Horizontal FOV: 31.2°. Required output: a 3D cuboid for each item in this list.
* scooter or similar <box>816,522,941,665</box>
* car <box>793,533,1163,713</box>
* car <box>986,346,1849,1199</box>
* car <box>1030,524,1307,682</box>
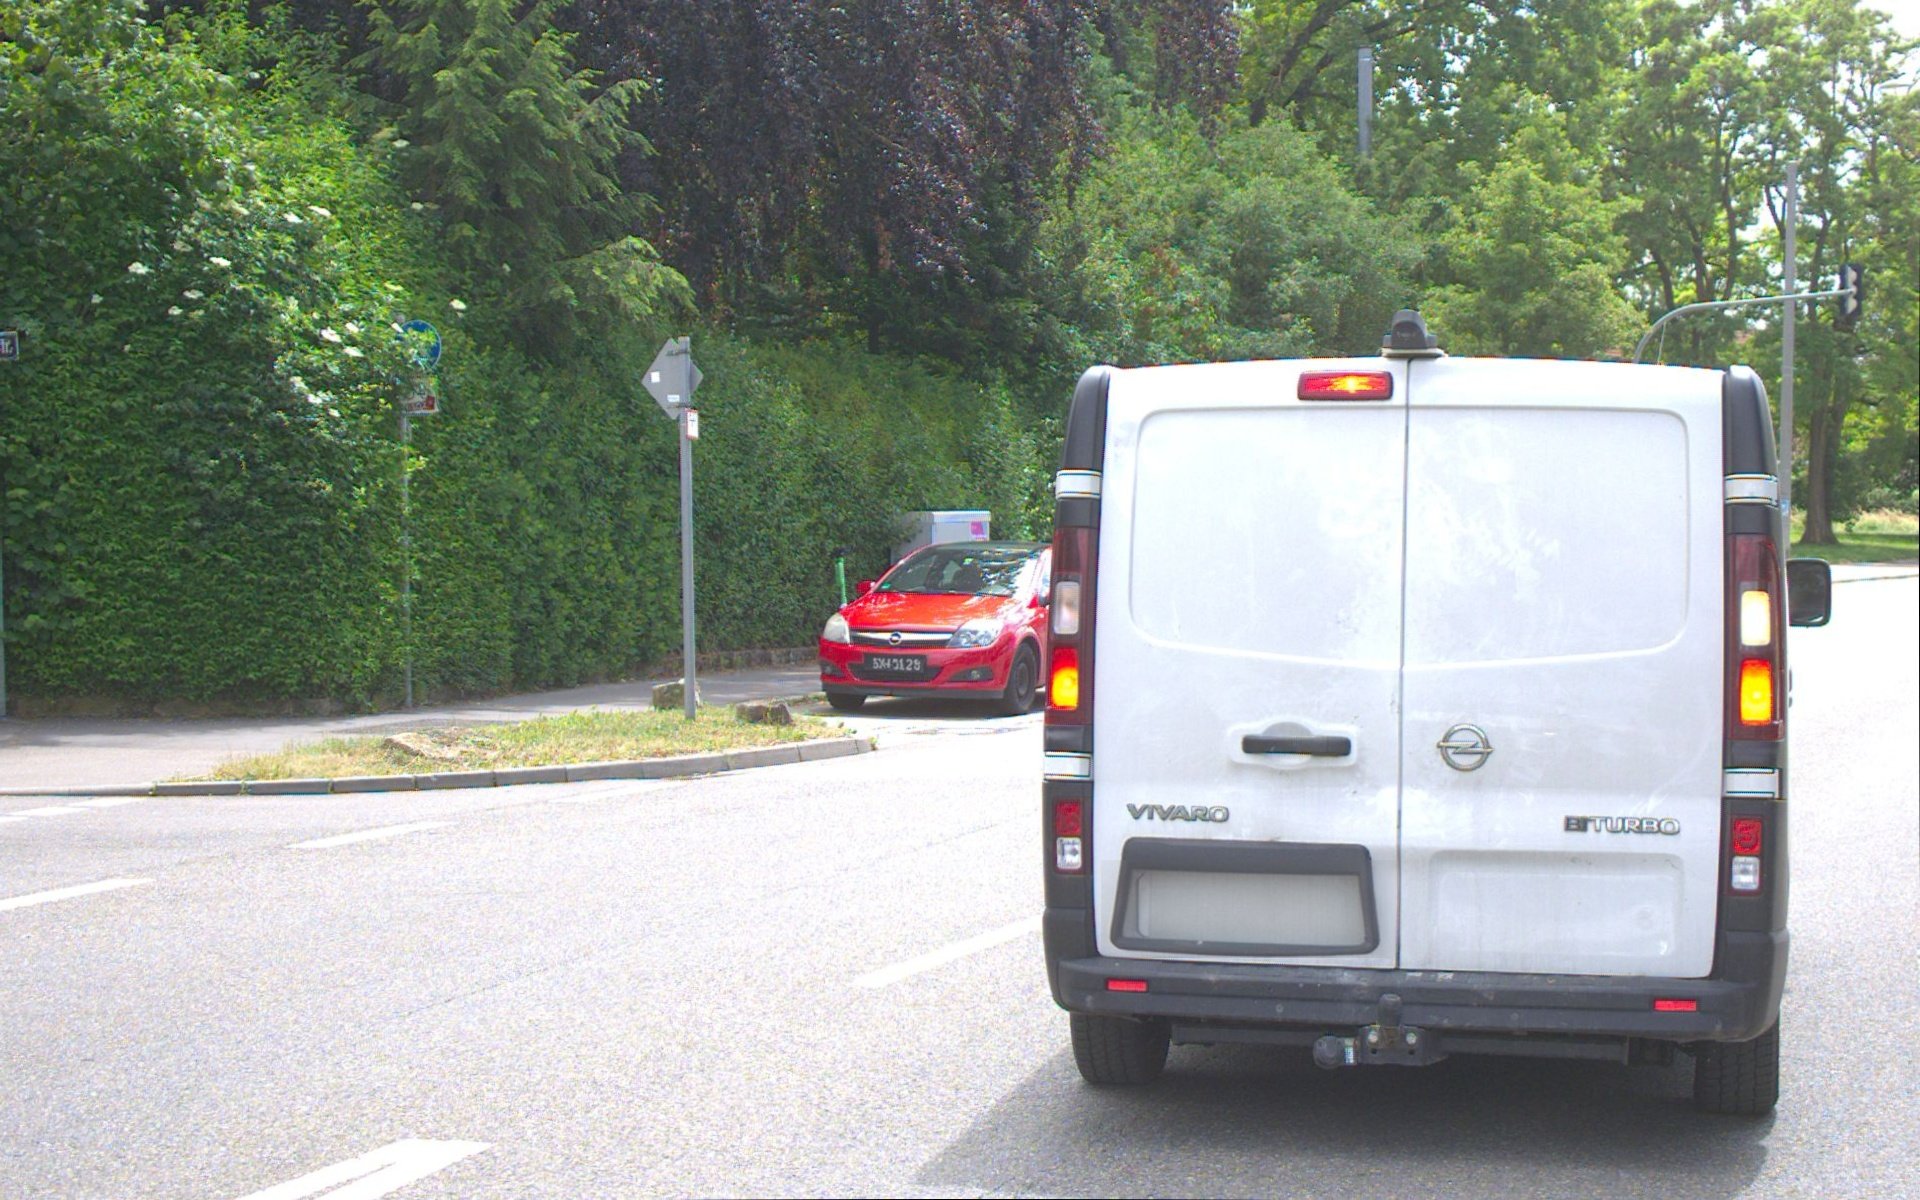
[{"bbox_3d":[-0.826,-0.083,35.315,0.671,1.407,1.647,1,2,22],"label":"scooter or similar"},{"bbox_3d":[0.251,0.134,29.614,1.662,1.373,4.561,2,2,21],"label":"car"},{"bbox_3d":[1.533,0.334,10.370,1.940,1.954,4.831,2,2,12],"label":"car"},{"bbox_3d":[2.160,-0.020,34.556,1.651,1.445,4.101,2,2,20],"label":"car"}]
